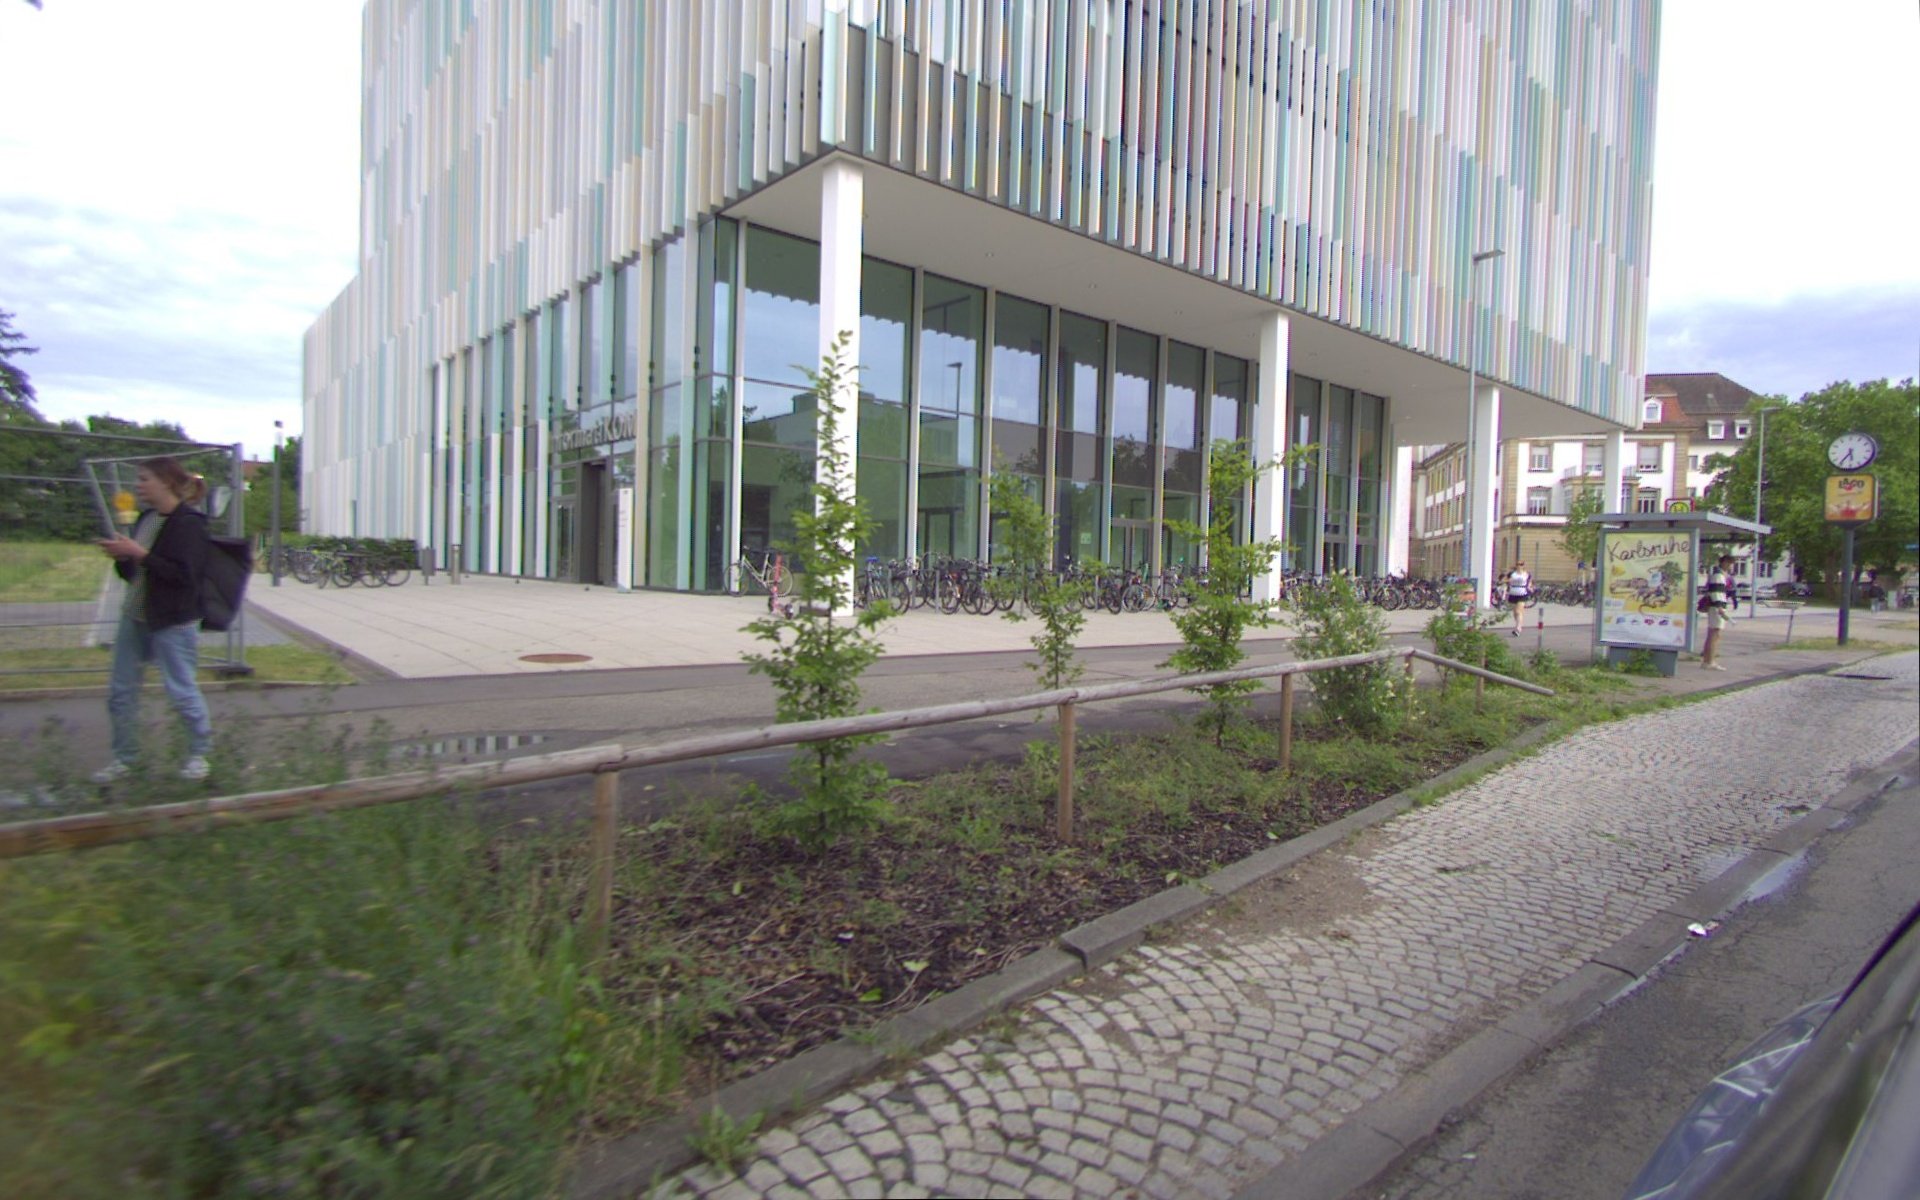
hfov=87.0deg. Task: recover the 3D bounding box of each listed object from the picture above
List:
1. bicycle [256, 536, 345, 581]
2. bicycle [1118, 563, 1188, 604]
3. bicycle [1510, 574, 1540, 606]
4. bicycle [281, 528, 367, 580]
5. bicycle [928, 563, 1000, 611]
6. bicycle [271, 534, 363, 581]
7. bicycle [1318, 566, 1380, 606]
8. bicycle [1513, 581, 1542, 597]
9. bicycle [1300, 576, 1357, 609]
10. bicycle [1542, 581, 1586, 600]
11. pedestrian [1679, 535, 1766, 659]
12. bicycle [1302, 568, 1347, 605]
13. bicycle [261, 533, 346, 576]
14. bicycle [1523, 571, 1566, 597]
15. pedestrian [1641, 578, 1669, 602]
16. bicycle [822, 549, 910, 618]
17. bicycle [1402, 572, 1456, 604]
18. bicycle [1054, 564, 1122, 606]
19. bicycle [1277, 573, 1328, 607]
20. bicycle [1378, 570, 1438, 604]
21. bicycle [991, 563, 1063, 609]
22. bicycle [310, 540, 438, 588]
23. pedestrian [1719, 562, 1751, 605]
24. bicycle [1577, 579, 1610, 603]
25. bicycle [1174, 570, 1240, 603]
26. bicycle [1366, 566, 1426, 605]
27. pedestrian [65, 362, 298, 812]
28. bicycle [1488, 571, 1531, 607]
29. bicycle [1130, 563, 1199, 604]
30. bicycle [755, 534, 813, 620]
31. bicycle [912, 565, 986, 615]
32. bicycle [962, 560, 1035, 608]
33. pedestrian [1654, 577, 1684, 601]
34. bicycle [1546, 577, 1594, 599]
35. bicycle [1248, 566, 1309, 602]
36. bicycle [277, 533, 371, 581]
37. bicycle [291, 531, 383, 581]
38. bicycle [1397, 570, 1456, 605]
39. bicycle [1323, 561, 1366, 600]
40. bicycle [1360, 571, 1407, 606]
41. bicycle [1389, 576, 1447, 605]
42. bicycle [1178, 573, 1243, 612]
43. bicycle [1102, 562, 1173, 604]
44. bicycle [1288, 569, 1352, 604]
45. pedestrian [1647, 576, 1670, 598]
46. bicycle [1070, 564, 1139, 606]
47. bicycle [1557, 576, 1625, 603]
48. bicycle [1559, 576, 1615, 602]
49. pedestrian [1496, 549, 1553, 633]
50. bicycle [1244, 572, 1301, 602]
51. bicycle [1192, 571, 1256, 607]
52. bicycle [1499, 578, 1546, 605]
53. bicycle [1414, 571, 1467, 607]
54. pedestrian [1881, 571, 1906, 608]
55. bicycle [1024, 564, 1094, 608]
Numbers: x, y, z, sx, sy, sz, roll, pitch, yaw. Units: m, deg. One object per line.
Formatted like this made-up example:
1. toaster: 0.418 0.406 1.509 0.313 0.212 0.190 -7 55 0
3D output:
1. bicycle: -21.892 -1.383 33.617 2.425 1.411 0.817 0 3 -36
2. bicycle: 4.517 -0.397 23.733 0.546 0.885 1.610 0 3 -39
3. bicycle: 20.834 -0.383 37.293 0.607 1.093 1.936 5 4 38
4. bicycle: -17.907 -1.289 28.515 2.006 1.411 0.670 0 3 -36
5. bicycle: 0.064 -0.280 20.680 0.546 0.885 1.610 0 3 -39
6. bicycle: -20.623 -1.357 32.478 2.425 1.411 0.817 0 3 -36
7. bicycle: 11.828 -0.429 30.827 0.561 1.115 1.650 1 4 -36
8. bicycle: 33.119 -0.638 59.065 1.333 0.910 0.542 2 2 6
9. bicycle: 11.038 -0.229 30.353 0.360 0.907 1.610 0 3 -39
10. bicycle: 31.523 -0.478 52.838 1.811 0.910 0.672 2 2 1
11. pedestrian: 13.194 -0.057 17.517 0.839 2.038 0.914 3 2 -41
12. bicycle: 10.910 -0.412 30.305 0.426 1.062 1.203 1 3 -33
13. bicycle: -22.805 -1.590 35.196 2.425 1.411 0.883 0 3 -36
14. bicycle: 32.436 -0.890 56.205 1.991 1.322 0.639 5 2 29
15. pedestrian: 36.235 -0.502 52.764 0.828 1.208 0.896 1 2 -26
16. bicycle: -1.741 -0.320 18.414 0.615 1.094 1.798 0 5 -41
17. bicycle: 16.039 -0.415 34.651 0.557 0.947 1.615 2 4 -29
18. bicycle: 2.917 -0.347 23.123 0.507 0.895 1.607 0 3 -40
19. bicycle: 9.977 -0.296 29.471 0.546 0.885 1.286 0 3 -39
20. bicycle: 14.352 -0.427 32.439 0.546 0.884 1.613 0 8 -37
21. bicycle: 1.420 -0.311 21.622 0.546 0.885 1.610 0 3 -39
22. bicycle: -15.037 -0.924 26.005 2.739 1.143 1.034 0 3 -36
23. pedestrian: 38.823 -0.820 50.683 1.181 2.088 1.118 1 0 43
24. bicycle: 29.005 -0.428 46.312 1.806 1.075 0.640 0 0 -36
25. bicycle: 6.195 -0.349 25.420 0.546 0.725 1.564 0 4 -39
26. bicycle: 13.960 -0.466 32.438 0.561 1.104 1.652 1 5 -31
27. pedestrian: -4.001 -0.074 5.195 0.879 2.038 0.844 0 2 -42
28. bicycle: 19.066 -0.379 35.108 2.165 1.154 0.636 -1 6 -45
29. bicycle: 4.881 -0.394 24.188 0.546 0.885 1.610 0 3 -39
30. bicycle: -3.011 -0.416 17.212 0.453 1.349 1.657 1 4 -27
31. bicycle: -0.232 -0.208 19.667 0.546 0.885 1.610 0 3 -39
32. bicycle: 0.769 -0.333 20.843 0.546 0.885 1.611 0 4 -39
33. pedestrian: 36.968 -0.576 52.798 0.876 1.221 0.846 1 2 -6
34. bicycle: 31.317 -0.628 51.987 1.927 1.014 0.773 2 2 9
35. bicycle: 9.102 -0.479 28.944 0.506 0.958 1.698 1 2 -33
36. bicycle: -19.848 -1.338 31.596 2.425 1.411 0.817 0 3 -36
37. bicycle: -18.719 -1.315 30.441 2.303 1.411 0.673 0 3 -36
38. bicycle: 15.316 -0.416 33.236 0.546 0.994 1.611 0 5 -39
39. bicycle: 12.790 -0.664 33.732 0.636 1.158 1.989 3 3 0
40. bicycle: 13.387 -0.375 32.025 0.539 1.020 1.247 0 3 -35
41. bicycle: 14.864 -0.320 32.861 0.546 0.885 1.610 0 3 -39
42. bicycle: 6.064 -0.192 24.526 0.546 0.849 1.459 0 3 -39
43. bicycle: 4.078 -0.397 23.363 0.546 0.885 1.610 0 3 -39
44. bicycle: 10.114 -0.381 28.458 0.546 0.885 1.610 0 3 -39
45. pedestrian: 42.267 -0.793 61.270 0.862 1.273 0.911 0 0 -37
46. bicycle: 3.336 -0.353 23.491 0.546 0.885 1.611 0 4 -39
47. bicycle: 30.864 -0.542 49.538 2.675 1.202 0.773 2 2 9
48. bicycle: 29.991 -0.528 48.432 2.146 1.129 0.735 2 2 7
49. pedestrian: 12.816 -0.222 22.989 0.879 1.858 0.844 0 2 -43
50. bicycle: 8.768 -0.363 28.401 0.546 0.755 1.438 0 3 -39
51. bicycle: 6.711 -0.292 25.799 0.546 0.844 1.537 0 3 -39
52. bicycle: 21.829 -0.341 39.318 1.465 0.940 0.439 3 4 11
53. bicycle: 15.872 -0.366 33.440 0.549 1.056 1.404 0 5 -39
54. pedestrian: 52.964 -0.606 57.427 0.878 2.038 0.845 0 2 -39
55. bicycle: 2.190 -0.330 22.524 0.546 0.885 1.610 0 3 -39
